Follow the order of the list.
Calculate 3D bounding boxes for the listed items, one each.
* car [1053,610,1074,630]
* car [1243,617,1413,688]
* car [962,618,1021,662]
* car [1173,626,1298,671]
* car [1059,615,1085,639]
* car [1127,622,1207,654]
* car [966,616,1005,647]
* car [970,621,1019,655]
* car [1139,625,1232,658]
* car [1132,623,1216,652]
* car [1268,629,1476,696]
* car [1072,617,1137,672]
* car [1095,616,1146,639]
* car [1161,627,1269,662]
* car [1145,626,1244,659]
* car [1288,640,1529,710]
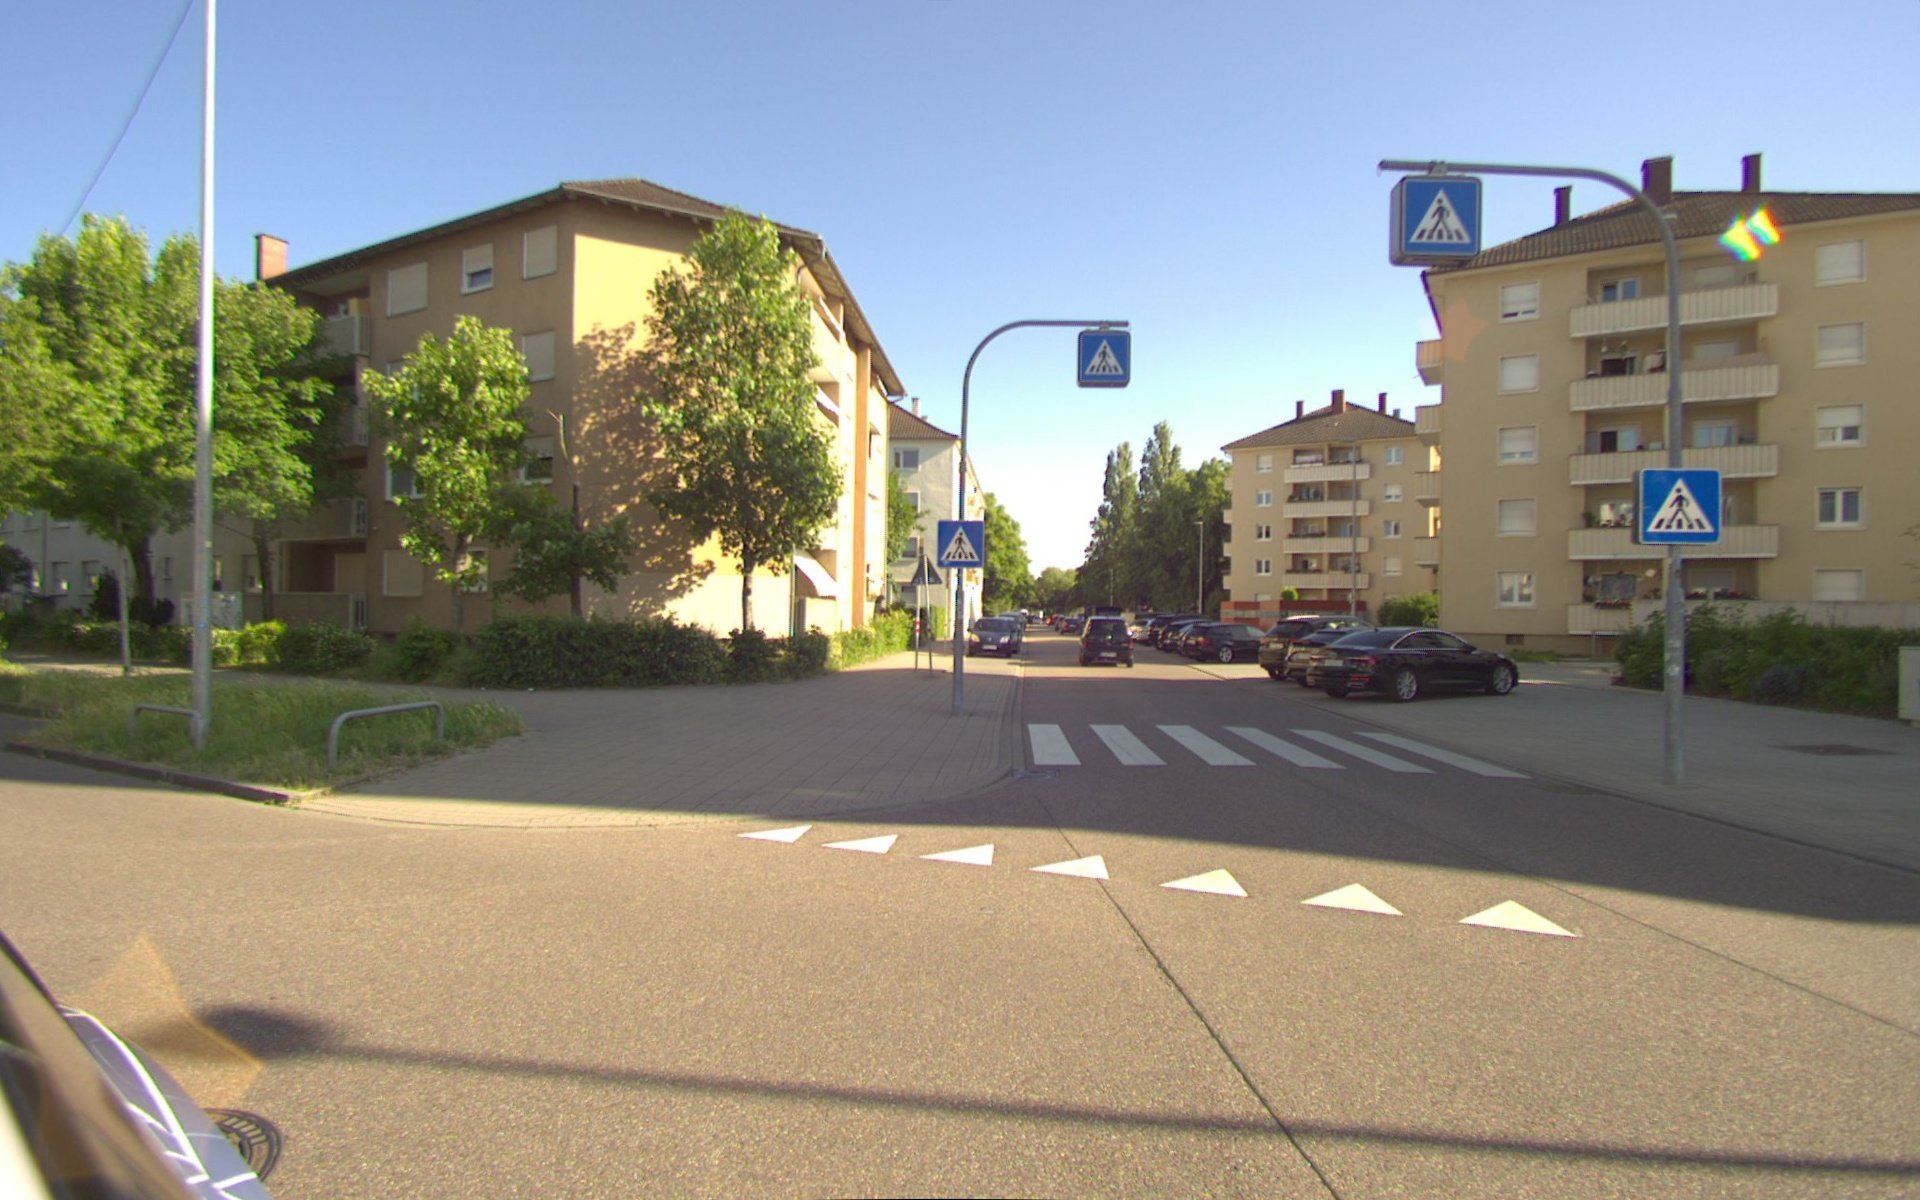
[{"bbox_3d":[10.748,2.074,105.381,1.974,1.851,3.996,0,1,4],"label":"car"},{"bbox_3d":[9.599,1.313,26.393,3.931,1.664,2.006,0,-1,-27],"label":"car"},{"bbox_3d":[1.144,1.472,38.467,1.881,1.526,4.002,2,-1,-3],"label":"car"},{"bbox_3d":[9.958,1.709,36.661,3.931,1.412,2.007,0,1,-20],"label":"car"},{"bbox_3d":[9.529,2.274,86.053,1.978,1.851,3.987,0,1,10],"label":"car"},{"bbox_3d":[11.728,2.142,57.487,3.935,1.652,2.004,0,1,-9],"label":"car"},{"bbox_3d":[1.393,1.653,54.187,1.973,1.475,3.997,-2,0,2],"label":"car"},{"bbox_3d":[1.427,1.604,43.779,1.972,1.253,4.000,0,1,0],"label":"car"},{"bbox_3d":[10.958,1.974,49.144,3.931,1.264,2.007,-2,2,-22],"label":"car"},{"bbox_3d":[11.567,2.019,54.750,3.932,1.408,2.006,0,1,-16],"label":"car"},{"bbox_3d":[9.686,1.425,23.795,4.485,1.442,2.006,1,-2,-24],"label":"car"},{"bbox_3d":[4.741,1.425,33.587,1.719,1.541,4.111,0,1,2],"label":"car"},{"bbox_3d":[13.528,2.345,85.514,3.940,1.851,2.002,0,1,-3],"label":"car"},{"bbox_3d":[10.713,1.834,42.604,3.932,1.320,2.006,0,1,-16],"label":"car"},{"bbox_3d":[10.642,1.899,46.033,3.932,1.320,2.006,0,1,-16],"label":"car"},{"bbox_3d":[9.167,1.463,20.694,4.485,1.176,2.006,0,-1,-25],"label":"car"}]
